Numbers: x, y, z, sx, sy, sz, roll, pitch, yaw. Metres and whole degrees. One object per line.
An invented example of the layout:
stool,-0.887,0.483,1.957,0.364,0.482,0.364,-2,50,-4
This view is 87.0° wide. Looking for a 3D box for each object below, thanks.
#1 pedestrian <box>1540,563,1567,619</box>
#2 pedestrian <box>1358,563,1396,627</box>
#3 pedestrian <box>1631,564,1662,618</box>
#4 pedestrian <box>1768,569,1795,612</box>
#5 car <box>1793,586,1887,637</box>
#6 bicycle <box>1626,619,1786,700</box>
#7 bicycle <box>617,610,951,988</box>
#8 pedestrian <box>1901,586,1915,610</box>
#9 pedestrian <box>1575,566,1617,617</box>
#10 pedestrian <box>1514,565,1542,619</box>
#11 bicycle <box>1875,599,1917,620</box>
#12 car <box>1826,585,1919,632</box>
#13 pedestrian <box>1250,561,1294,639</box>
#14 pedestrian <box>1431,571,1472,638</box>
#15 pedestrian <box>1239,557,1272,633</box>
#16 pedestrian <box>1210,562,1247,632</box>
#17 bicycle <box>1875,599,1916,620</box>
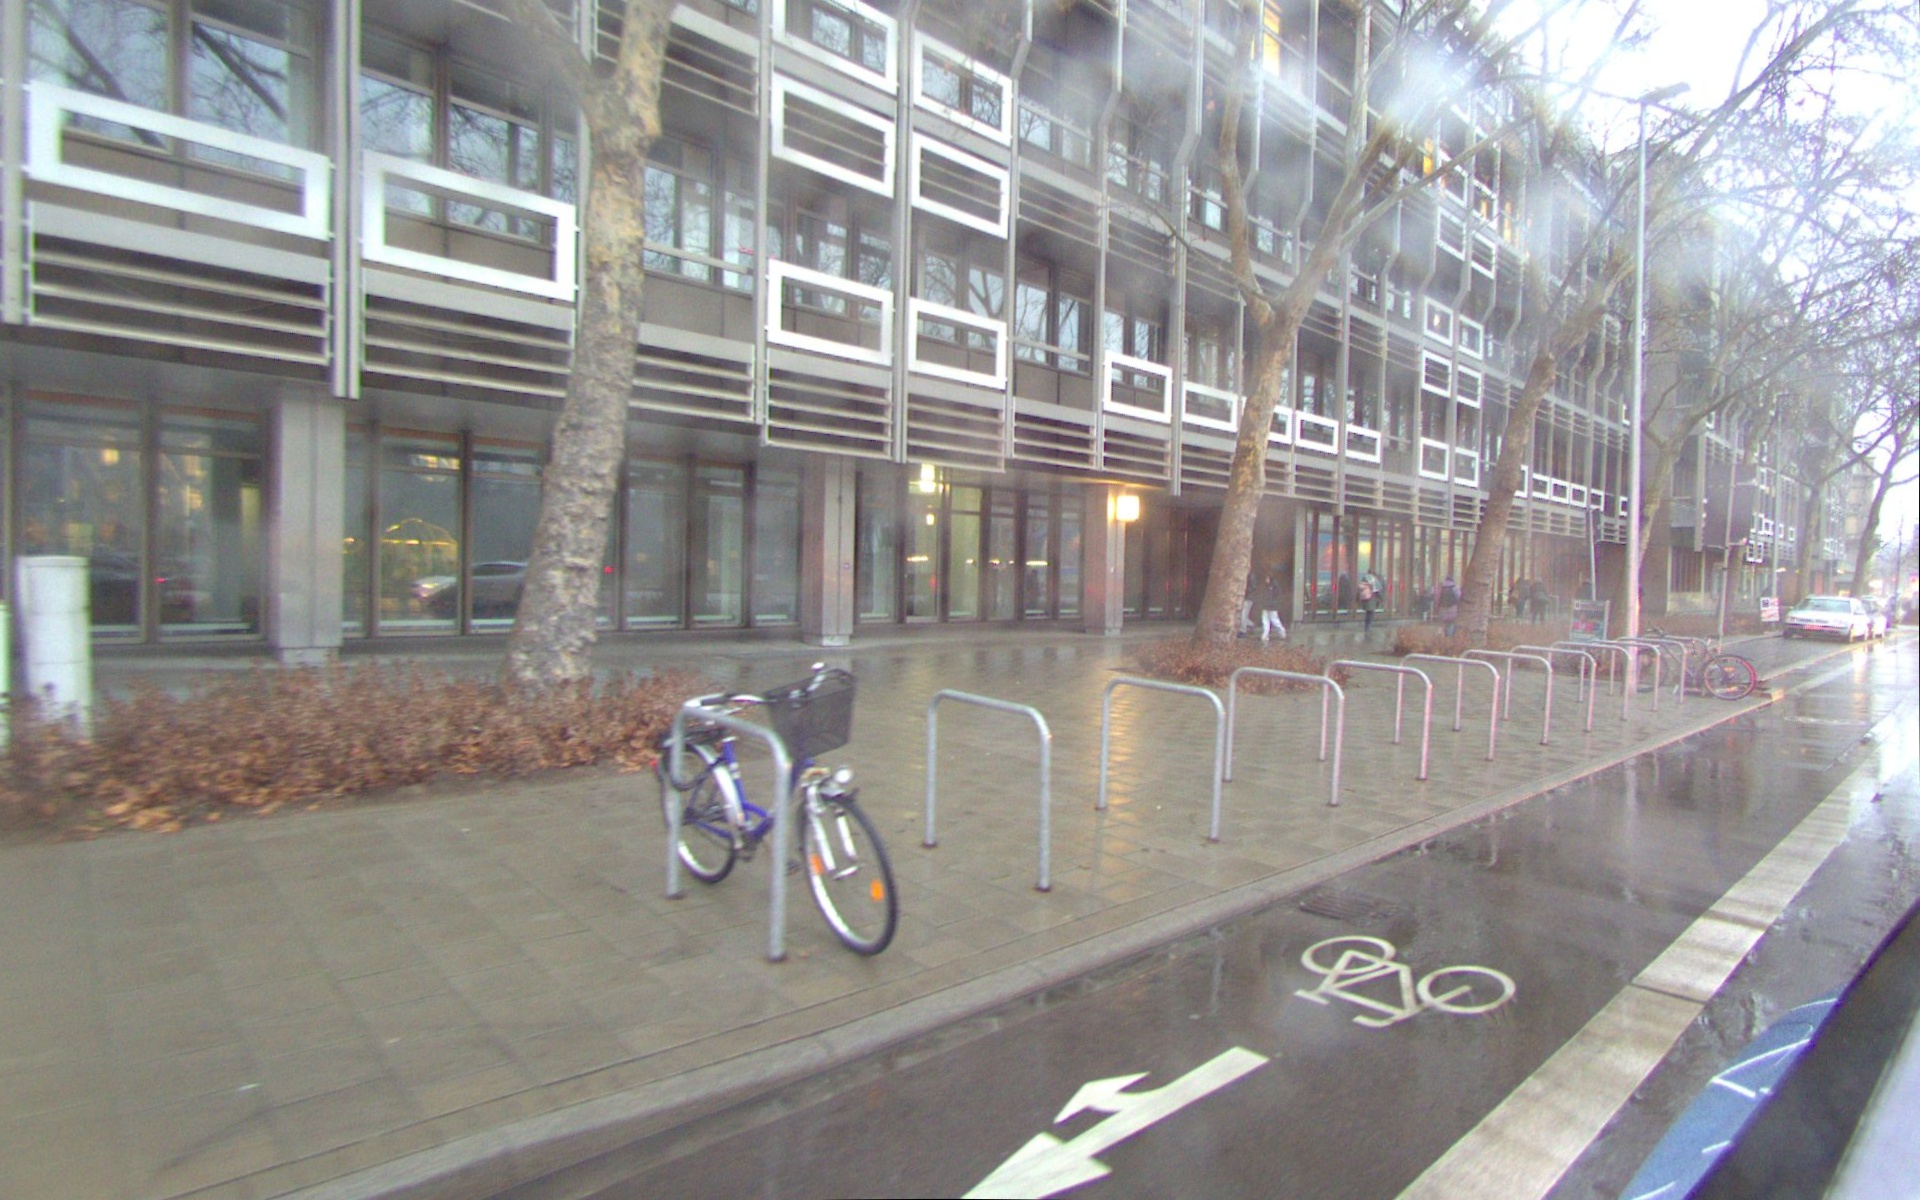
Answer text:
pedestrian,18.704,-0.285,31.886,0.656,1.739,0.832,2,1,35
pedestrian,11.181,-0.147,27.143,0.767,1.677,0.617,0,1,-41
pedestrian,26.480,-0.360,39.027,0.723,2.038,0.821,0,1,-43
pedestrian,39.132,-0.451,48.182,1.006,2.038,0.790,0,1,-41
car,28.782,0.339,33.079,3.859,1.449,1.609,0,5,-39
bicycle,10.970,0.843,14.933,0.607,0.986,1.789,0,3,-44
bicycle,-0.817,0.691,4.229,0.428,1.162,1.752,0,4,-44
pedestrian,81.098,-0.153,86.564,0.758,2.039,0.837,-1,0,-42
pedestrian,19.714,-0.266,31.380,0.823,1.543,0.865,0,2,-42
pedestrian,18.052,-0.272,32.160,0.638,1.675,0.832,2,1,36
bicycle,46.395,0.462,50.161,1.518,1.049,0.462,0,1,42
car,32.924,0.316,36.447,3.929,1.504,1.998,1,2,-41
pedestrian,6.908,-0.006,22.400,0.858,1.688,0.501,0,2,-41
pedestrian,11.707,0.091,24.107,0.604,1.563,0.649,0,1,-40
pedestrian,6.691,-0.116,22.909,0.701,1.688,0.379,0,2,-41
pedestrian,6.185,-0.086,23.317,0.733,1.583,0.484,0,2,-42
bicycle,47.267,0.461,51.137,1.518,1.049,0.462,0,1,42
